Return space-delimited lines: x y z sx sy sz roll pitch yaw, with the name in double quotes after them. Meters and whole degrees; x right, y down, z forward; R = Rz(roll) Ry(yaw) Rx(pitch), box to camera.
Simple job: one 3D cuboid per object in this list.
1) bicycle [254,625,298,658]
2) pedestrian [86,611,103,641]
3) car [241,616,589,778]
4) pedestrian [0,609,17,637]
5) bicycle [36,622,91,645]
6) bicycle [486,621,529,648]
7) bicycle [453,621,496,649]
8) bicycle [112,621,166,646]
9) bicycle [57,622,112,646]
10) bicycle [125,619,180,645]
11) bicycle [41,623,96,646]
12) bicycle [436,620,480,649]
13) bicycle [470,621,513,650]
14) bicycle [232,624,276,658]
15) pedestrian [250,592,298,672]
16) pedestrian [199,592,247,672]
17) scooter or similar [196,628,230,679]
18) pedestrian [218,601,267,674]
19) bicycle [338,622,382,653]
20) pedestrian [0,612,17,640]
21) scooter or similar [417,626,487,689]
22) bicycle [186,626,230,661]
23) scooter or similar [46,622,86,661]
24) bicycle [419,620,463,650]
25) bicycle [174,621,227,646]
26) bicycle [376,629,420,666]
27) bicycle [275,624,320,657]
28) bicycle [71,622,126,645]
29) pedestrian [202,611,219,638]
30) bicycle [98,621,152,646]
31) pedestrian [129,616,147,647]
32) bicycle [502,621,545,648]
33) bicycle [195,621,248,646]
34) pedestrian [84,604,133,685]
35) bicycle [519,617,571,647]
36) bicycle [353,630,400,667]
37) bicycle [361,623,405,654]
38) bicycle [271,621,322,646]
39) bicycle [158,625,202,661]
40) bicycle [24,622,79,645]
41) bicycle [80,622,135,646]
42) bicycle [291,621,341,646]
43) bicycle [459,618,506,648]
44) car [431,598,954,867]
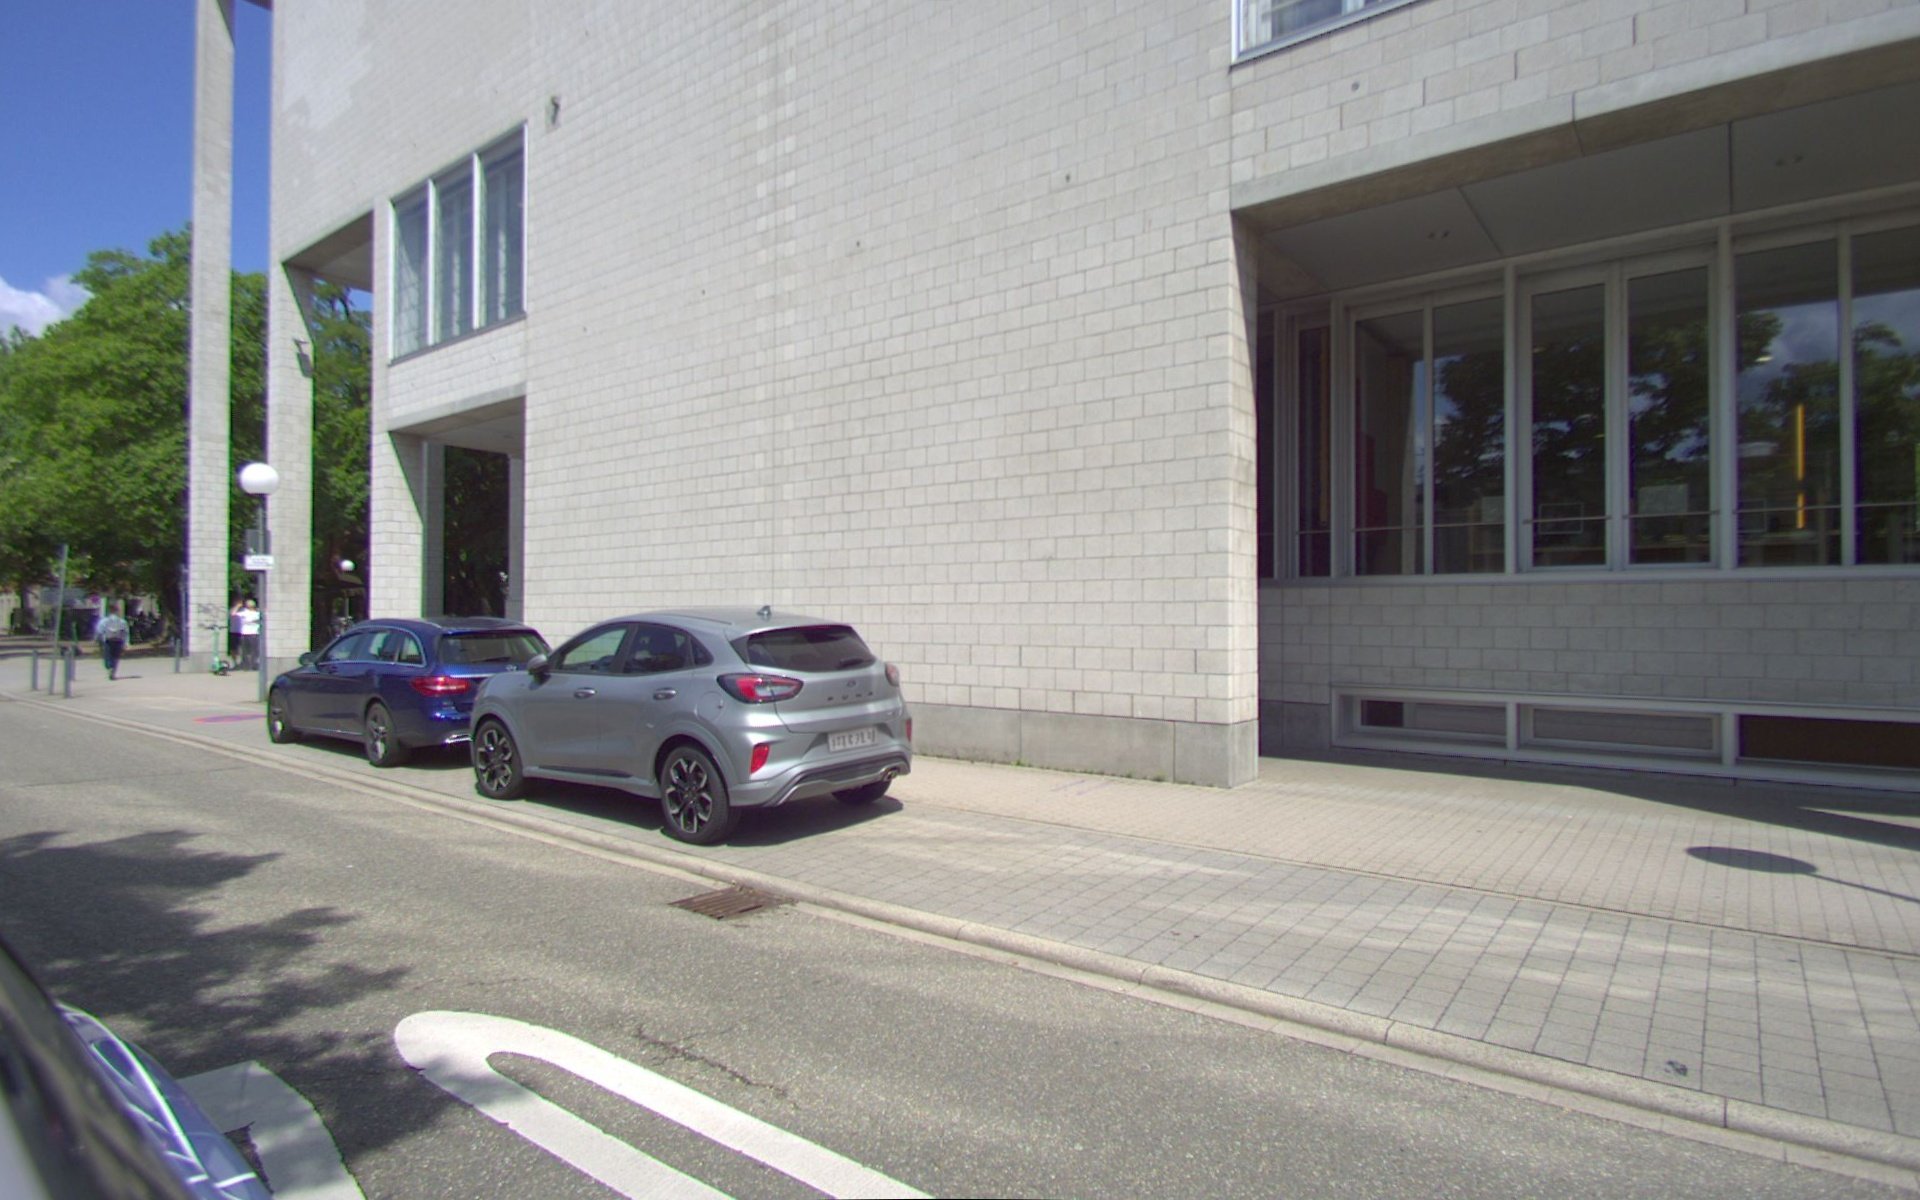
-23.057 1.377 34.101 2.121 1.066 0.615 -1 -1 38 "bicycle"
-49.830 1.481 58.242 0.815 1.683 0.669 -1 -1 44 "pedestrian"
-6.158 0.909 11.188 4.659 1.433 1.709 -1 -1 38 "car"
-63.638 1.525 67.558 0.668 1.907 0.817 0 0 -12 "pedestrian"
-43.646 1.631 49.294 0.615 1.066 2.119 0 0 8 "bicycle"
-18.015 1.361 40.269 2.171 1.066 0.615 -1 -1 38 "bicycle"
-18.807 1.342 39.204 2.171 1.066 0.615 -1 -1 38 "bicycle"
-39.112 1.577 48.222 0.675 1.115 2.119 0 0 8 "bicycle"
-42.316 1.639 48.951 0.675 1.066 2.119 0 0 8 "bicycle"
-38.370 1.522 48.104 0.744 1.166 2.119 0 0 8 "bicycle"
-43.022 1.664 48.870 0.615 1.066 2.119 0 0 8 "bicycle"
-19.196 1.307 38.685 2.171 1.066 0.615 -1 -1 38 "bicycle"
-18.411 1.377 39.731 2.171 1.066 0.615 -1 -1 38 "bicycle"
-23.435 1.356 33.581 2.121 1.066 0.615 -1 -1 38 "bicycle"
-17.930 0.816 26.437 1.079 2.029 0.746 -1 -1 37 "pedestrian"
-19.238 0.823 26.419 1.079 2.029 0.746 -1 -1 37 "pedestrian"
-17.548 1.251 23.776 1.311 1.153 0.314 -1 -1 38 "scooter or similar"
-18.059 0.931 25.469 1.079 1.794 0.746 -1 -1 37 "pedestrian"
-21.480 1.341 36.218 2.121 1.066 0.615 -1 -1 38 "bicycle"
-56.203 1.529 59.767 0.815 1.683 0.669 -1 -1 44 "pedestrian"
-10.251 1.155 20.432 1.196 1.241 0.402 0 -1 -11 "scooter or similar"
-24.189 1.387 32.556 2.121 1.066 0.585 -1 -1 38 "bicycle"
-29.875 1.368 33.835 0.702 1.200 1.620 0 0 -30 "scooter or similar"
-19.581 1.306 38.151 2.171 1.066 0.615 -1 -1 38 "bicycle"
-35.667 1.555 47.551 0.744 1.115 2.119 0 0 8 "bicycle"
-16.385 1.369 29.495 1.964 0.993 0.510 -1 -1 42 "bicycle"
-22.676 1.366 34.629 2.121 1.066 0.615 -1 -1 38 "bicycle"
-41.594 1.619 48.876 0.675 1.066 2.119 0 0 8 "bicycle"
-43.259 1.425 58.419 0.500 1.543 0.584 0 -1 17 "pedestrian"
-39.848 1.581 48.321 0.675 1.115 2.119 0 0 8 "bicycle"
-45.632 1.748 56.194 0.745 1.683 0.824 0 -1 -38 "pedestrian"
-17.606 1.372 40.807 2.171 1.066 0.615 -1 -1 38 "bicycle"
-34.495 1.548 47.320 0.744 1.115 2.119 0 0 8 "bicycle"
-19.221 0.977 22.872 0.749 1.738 1.237 -3 2 -39 "pedestrian"
-19.072 1.461 46.531 2.146 1.343 0.622 0 0 4 "bicycle"
-16.762 1.383 29.052 1.964 0.993 0.589 -1 -1 42 "bicycle"
-20.867 1.373 36.584 2.121 1.066 0.615 -1 -1 38 "bicycle"
-30.574 1.524 46.666 0.744 1.115 2.119 0 0 8 "bicycle"
-24.631 1.347 31.953 1.996 1.115 0.503 -1 -1 34 "bicycle"
-44.324 1.635 49.403 0.615 1.066 2.119 0 0 8 "bicycle"
-40.827 1.612 48.485 0.675 1.066 2.119 0 0 8 "bicycle"
-29.544 1.518 46.433 0.744 1.115 2.119 0 0 8 "bicycle"
-19.835 1.373 42.043 2.166 1.201 0.616 0 -1 30 "bicycle"
-2.297 0.781 8.008 4.400 1.546 1.710 0 1 38 "car"
